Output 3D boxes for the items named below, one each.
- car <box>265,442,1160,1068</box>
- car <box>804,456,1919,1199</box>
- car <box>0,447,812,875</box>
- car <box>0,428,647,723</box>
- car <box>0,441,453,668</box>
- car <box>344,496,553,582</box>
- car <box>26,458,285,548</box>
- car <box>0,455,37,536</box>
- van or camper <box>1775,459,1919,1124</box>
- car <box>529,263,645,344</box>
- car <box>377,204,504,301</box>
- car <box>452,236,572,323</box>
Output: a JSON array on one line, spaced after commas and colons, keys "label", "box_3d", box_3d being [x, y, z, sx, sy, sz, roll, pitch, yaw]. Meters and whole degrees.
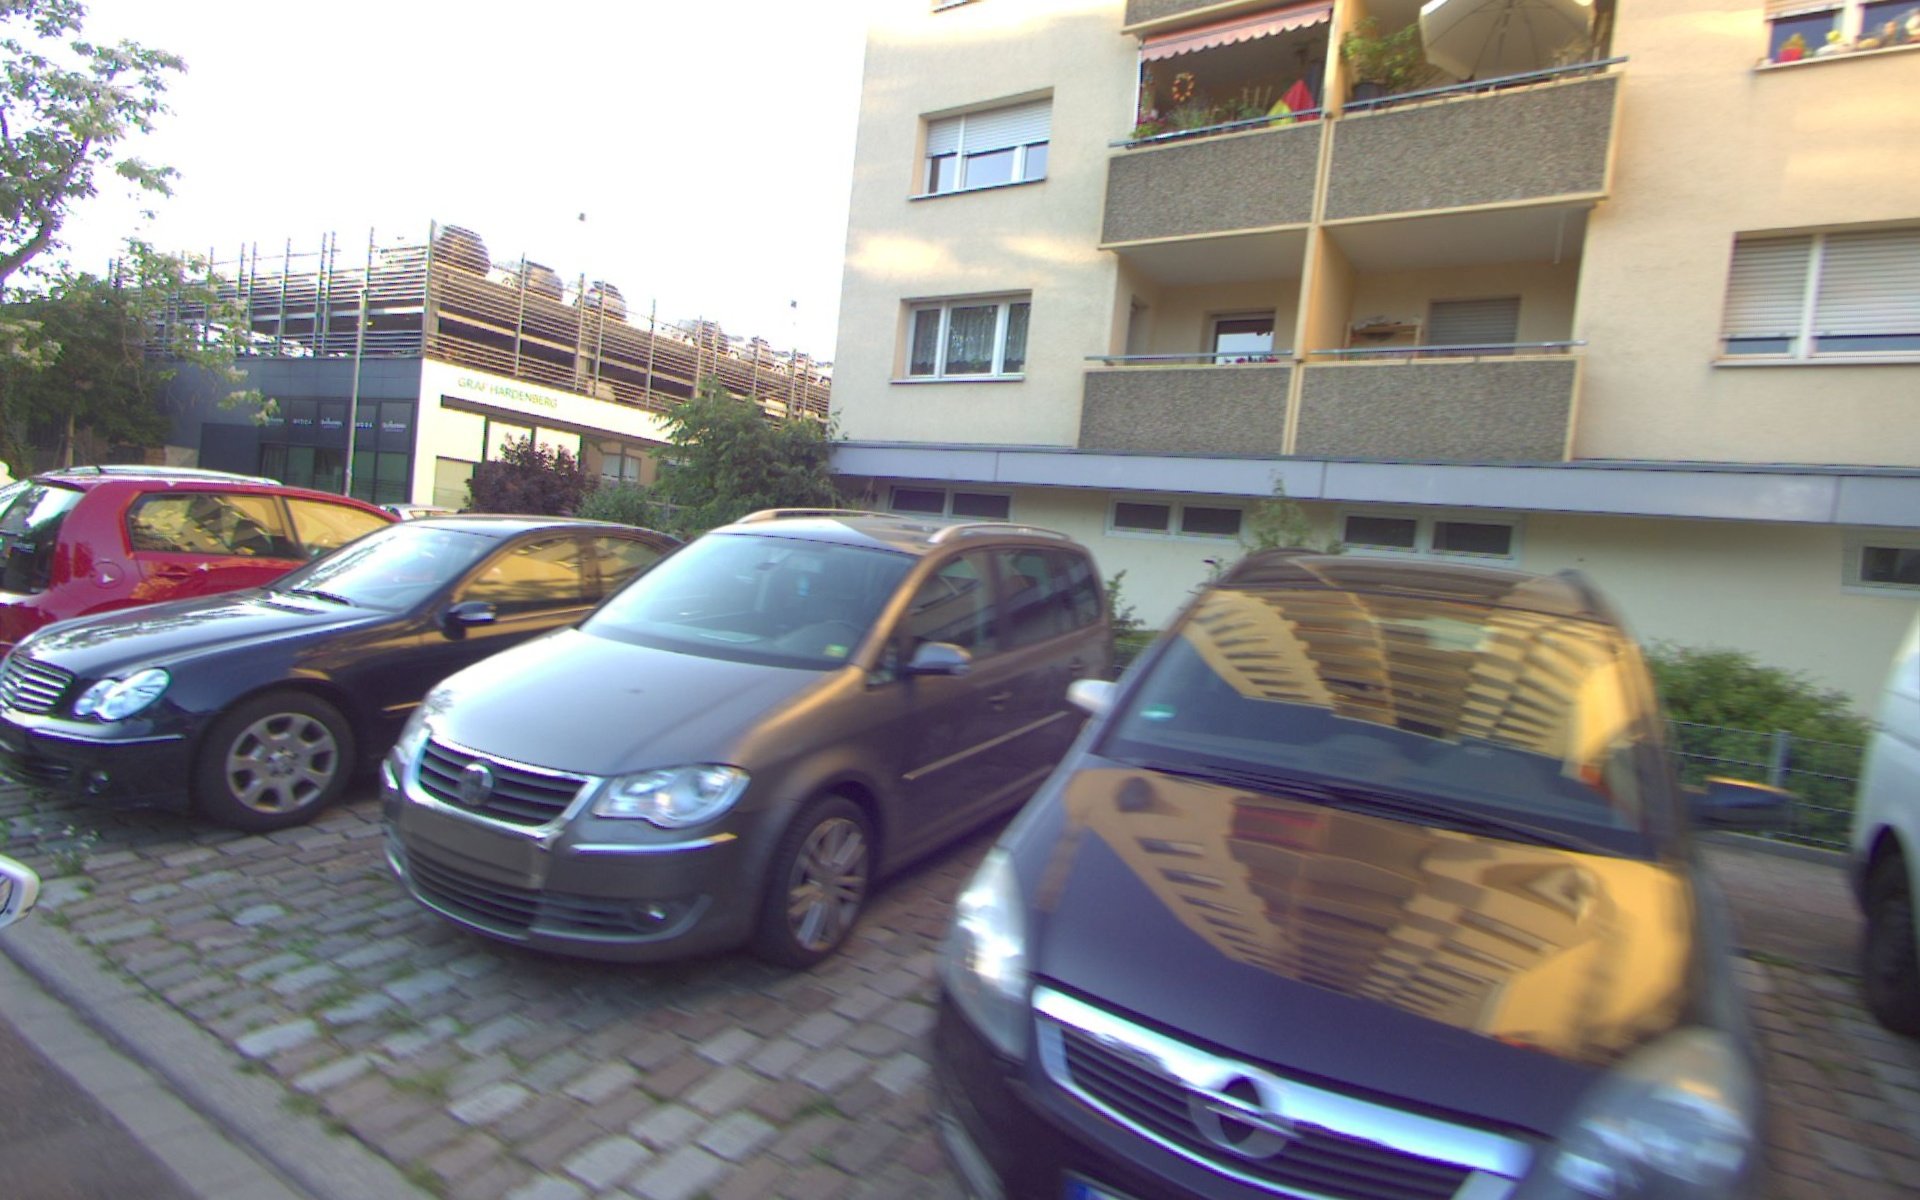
[{"label": "car", "box_3d": [-0.604, 0.339, 5.043, 1.814, 1.684, 4.403, 5, 3, 29]}, {"label": "car", "box_3d": [1.509, 0.594, 3.533, 1.751, 1.684, 4.326, 5, 3, 29]}, {"label": "car", "box_3d": [-2.990, 0.188, 6.005, 1.814, 1.552, 4.406, 5, 2, 29]}, {"label": "car", "box_3d": [-4.875, -0.275, 7.964, 1.816, 1.655, 4.397, 7, 6, 33]}, {"label": "car", "box_3d": [-7.137, -0.376, 8.946, 1.814, 1.653, 4.406, 5, 2, 29]}, {"label": "car", "box_3d": [-11.607, -1.342, 23.036, 1.794, 1.544, 3.834, 8, 3, 35]}, {"label": "car", "box_3d": [-18.367, -2.184, 23.153, 1.794, 1.523, 4.289, 8, 3, 35]}, {"label": "car", "box_3d": [-20.920, -2.315, 19.606, 1.924, 1.594, 3.860, 8, 1, 29]}, {"label": "van or camper", "box_3d": [3.761, 0.685, 2.184, 2.005, 2.199, 5.130, 7, 5, 29]}, {"label": "car", "box_3d": [-13.737, -10.824, 36.986, 3.938, 2.039, 1.993, 7, 1, 36]}, {"label": "car", "box_3d": [-16.923, -11.214, 32.722, 3.938, 2.039, 1.993, 7, 1, 36]}, {"label": "car", "box_3d": [-15.582, -11.037, 34.917, 3.938, 2.039, 1.993, 7, 1, 36]}]
